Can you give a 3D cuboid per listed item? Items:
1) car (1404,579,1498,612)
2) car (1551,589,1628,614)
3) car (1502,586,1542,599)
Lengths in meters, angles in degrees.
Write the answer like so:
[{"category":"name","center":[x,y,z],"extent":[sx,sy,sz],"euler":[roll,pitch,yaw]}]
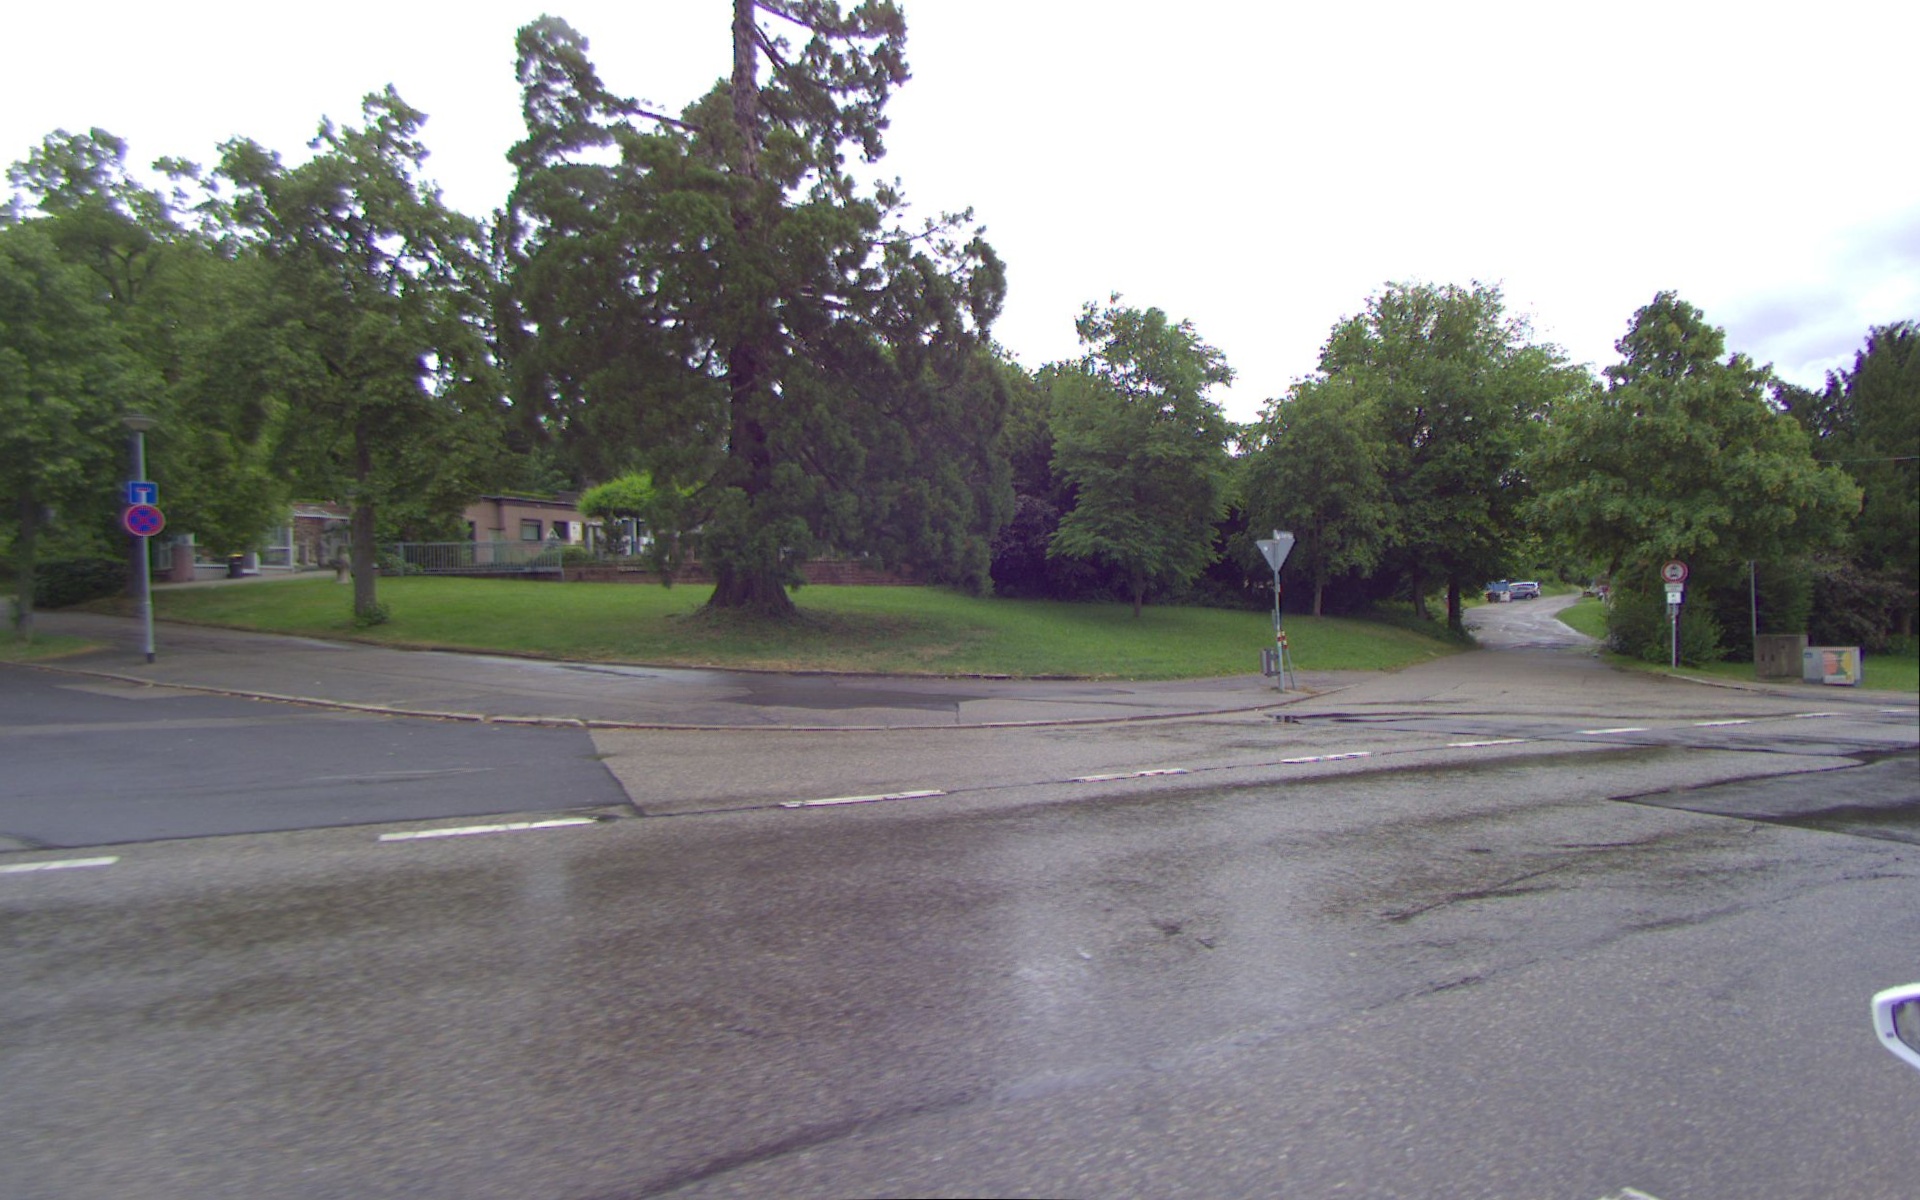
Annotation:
[{"category":"car","center":[24.398,-0.199,49.973],"extent":[3.851,1.505,1.926],"euler":[0,-2,41]},{"category":"car","center":[39.191,0.123,62.577],"extent":[3.851,1.505,1.926],"euler":[0,-2,41]},{"category":"car","center":[65.106,-0.843,116.381],"extent":[3.929,1.403,1.723],"euler":[2,1,31]}]
